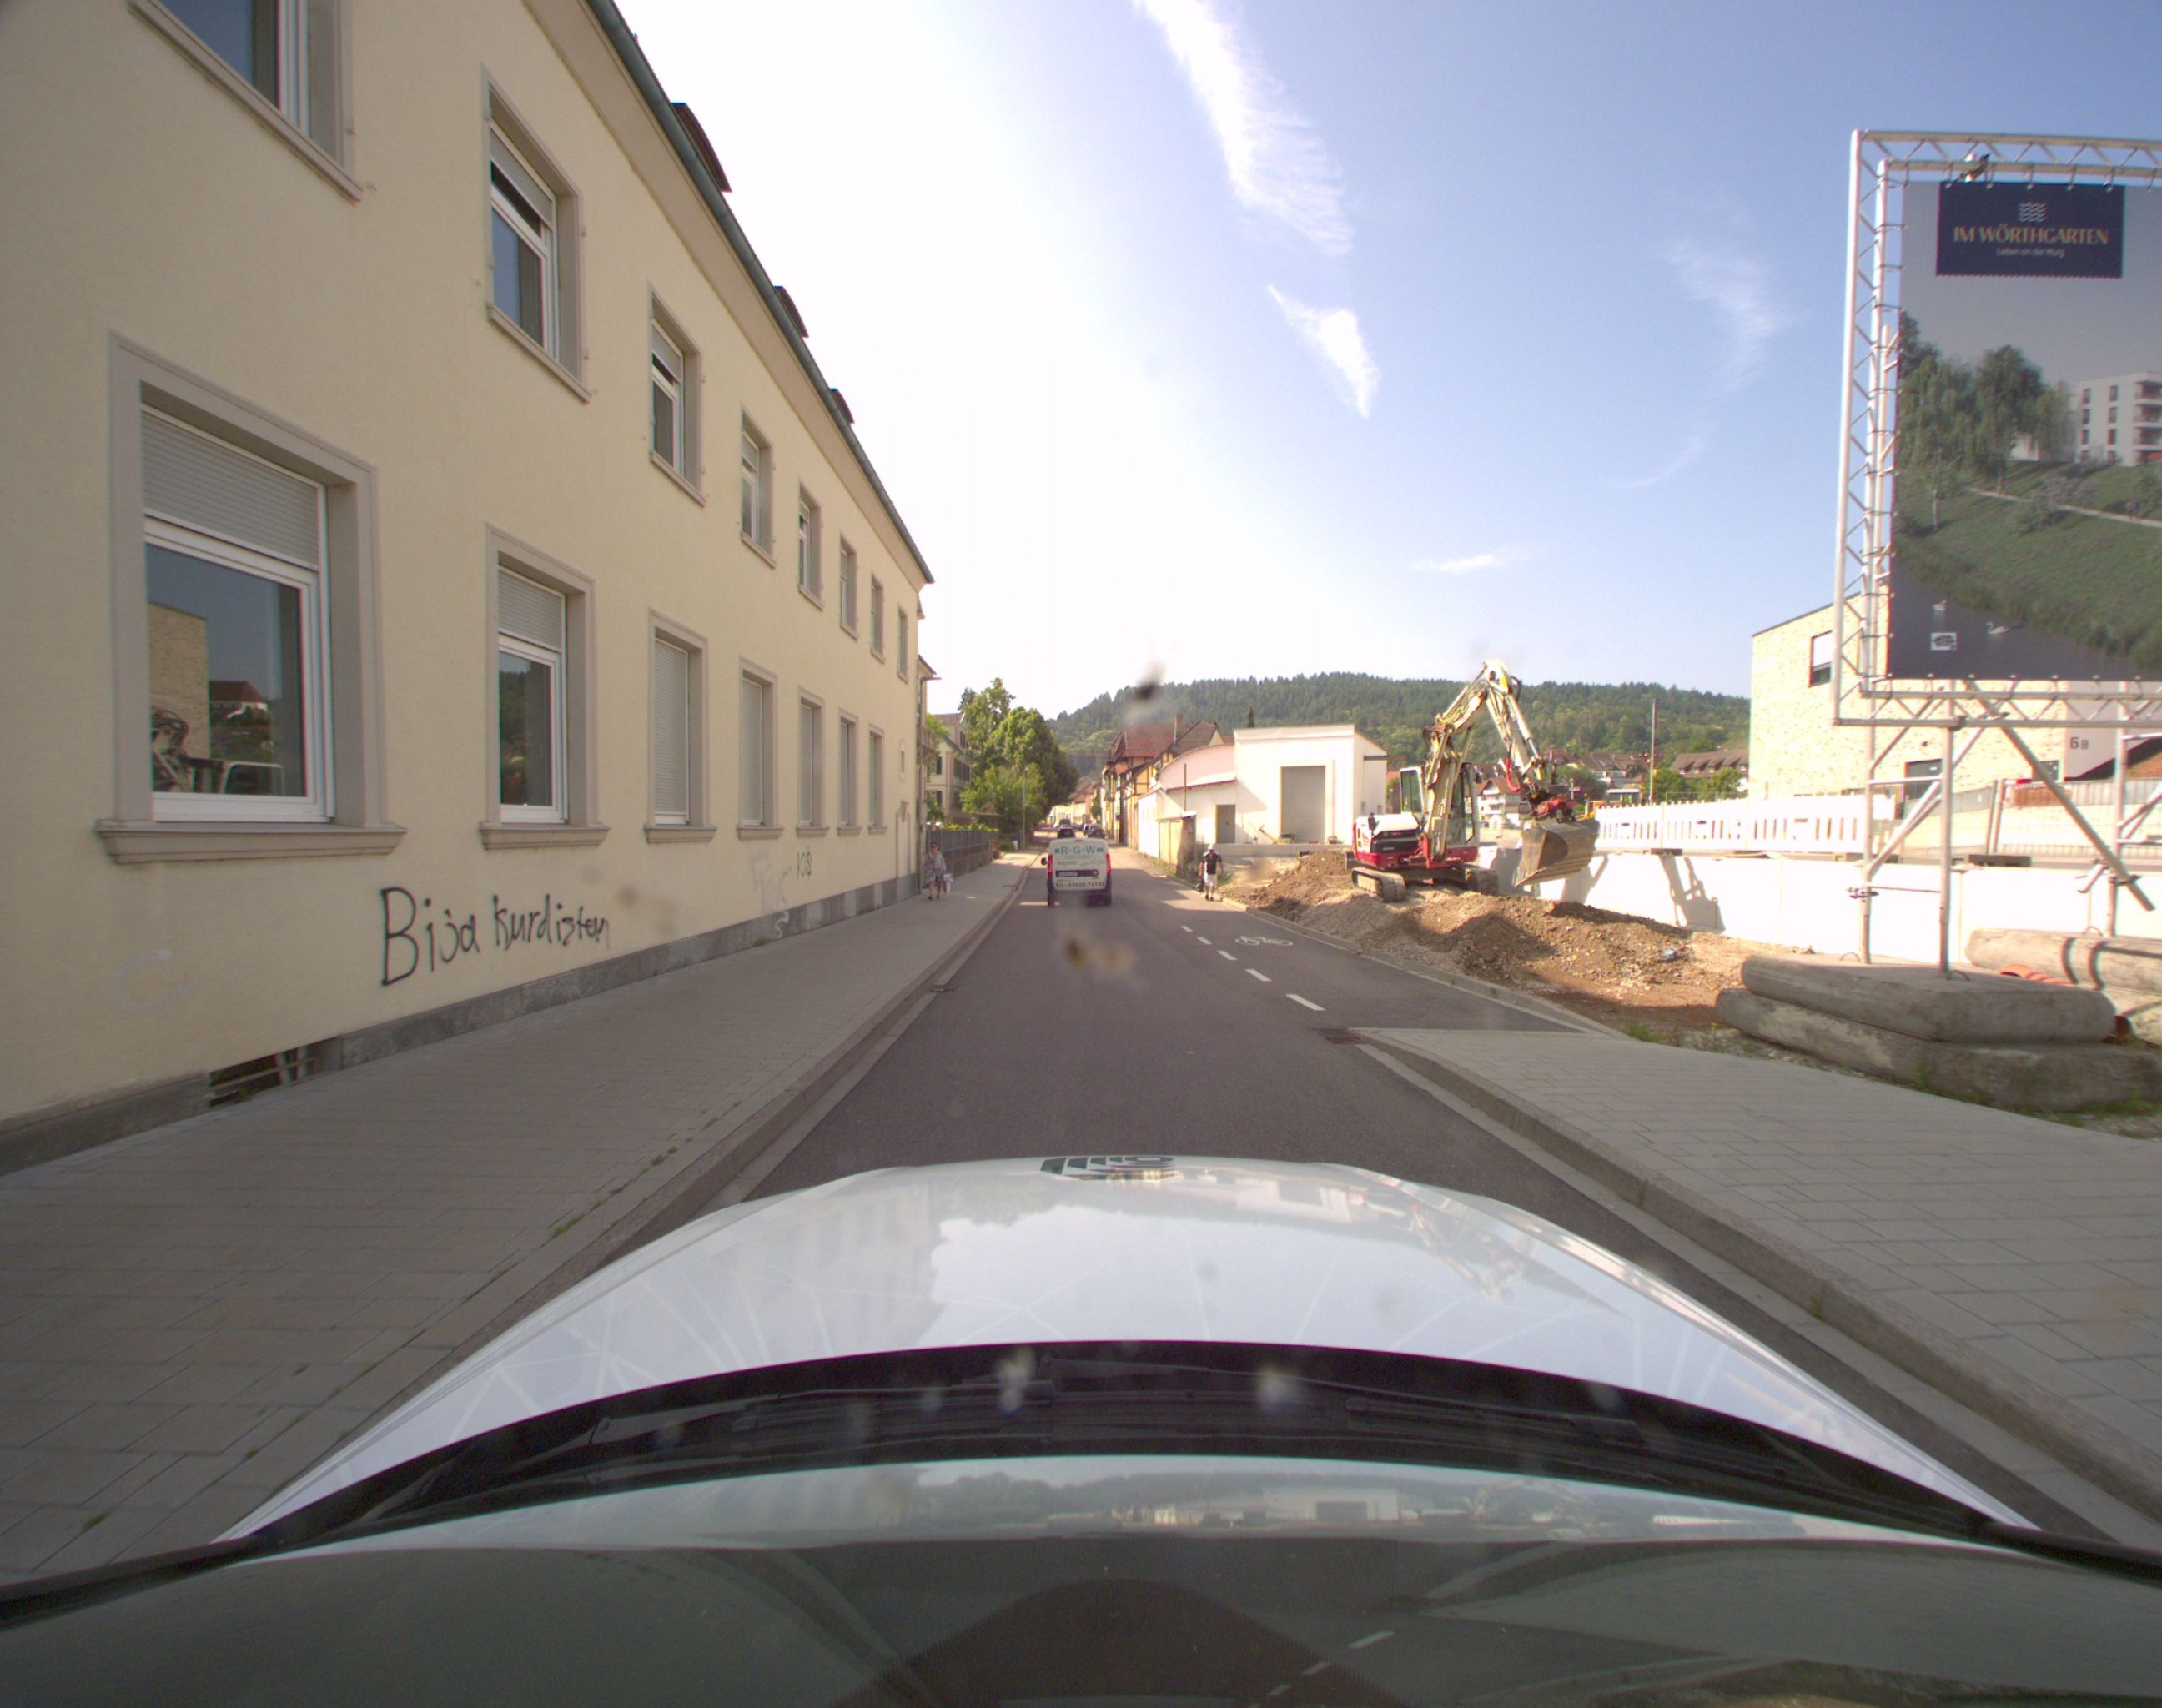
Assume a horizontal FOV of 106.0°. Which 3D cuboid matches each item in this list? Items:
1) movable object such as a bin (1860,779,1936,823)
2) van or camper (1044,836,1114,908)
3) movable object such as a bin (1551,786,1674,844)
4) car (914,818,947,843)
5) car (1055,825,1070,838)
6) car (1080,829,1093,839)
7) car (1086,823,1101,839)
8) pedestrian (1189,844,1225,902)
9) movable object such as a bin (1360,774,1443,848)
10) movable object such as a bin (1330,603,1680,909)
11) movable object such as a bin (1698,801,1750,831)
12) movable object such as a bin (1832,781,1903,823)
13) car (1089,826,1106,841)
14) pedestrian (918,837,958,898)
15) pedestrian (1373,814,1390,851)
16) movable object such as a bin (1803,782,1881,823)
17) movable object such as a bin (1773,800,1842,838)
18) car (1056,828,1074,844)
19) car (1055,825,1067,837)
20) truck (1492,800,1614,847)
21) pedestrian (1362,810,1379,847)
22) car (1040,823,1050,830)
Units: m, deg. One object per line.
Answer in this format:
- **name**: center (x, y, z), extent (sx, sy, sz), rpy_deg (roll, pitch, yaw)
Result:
- **movable object such as a bin**: center (28.691, -1.855, 28.639), extent (1.291, 1.463, 1.324), rpy_deg (3, 3, 9)
- **van or camper**: center (-0.117, 0.422, 23.588), extent (1.823, 1.844, 4.185), rpy_deg (-1, 1, -2)
- **movable object such as a bin**: center (24.769, -1.773, 38.142), extent (4.570, 2.569, 1.936), rpy_deg (0, 1, 24)
- **car**: center (-11.593, -1.856, 62.937), extent (1.819, 1.772, 4.678), rpy_deg (4, 2, -3)
- **car**: center (-2.438, -3.053, 108.088), extent (1.807, 1.596, 3.923), rpy_deg (3, 2, -4)
- **car**: center (0.831, -3.120, 124.925), extent (1.666, 1.507, 3.996), rpy_deg (0, 2, -3)
- **car**: center (1.655, -3.075, 108.325), extent (1.866, 2.013, 3.998), rpy_deg (1, 2, -2)
- **pedestrian**: center (3.799, 0.568, 24.629), extent (0.886, 1.683, 0.718), rpy_deg (2, 1, -2)
- **movable object such as a bin**: center (17.314, -2.258, 43.790), extent (2.823, 3.620, 5.772), rpy_deg (4, 3, 33)
- **movable object such as a bin**: center (6.671, -1.363, 14.435), extent (2.286, 3.853, 7.805), rpy_deg (3, 1, 3)
- **movable object such as a bin**: center (29.222, -1.717, 37.043), extent (1.288, 1.267, 1.324), rpy_deg (3, 3, 9)
- **movable object such as a bin**: center (28.908, -1.907, 29.967), extent (1.291, 1.463, 1.324), rpy_deg (3, 3, 9)
- **car**: center (1.988, -2.473, 98.380), extent (1.805, 1.596, 3.926), rpy_deg (3, 2, -1)
- **pedestrian**: center (-3.947, 0.371, 22.564), extent (0.955, 1.631, 0.758), rpy_deg (1, 1, -2)
- **pedestrian**: center (15.854, -1.144, 42.945), extent (0.628, 1.896, 0.611), rpy_deg (4, 3, 29)
- **movable object such as a bin**: center (29.240, -1.955, 31.340), extent (1.683, 1.463, 1.324), rpy_deg (3, 3, 9)
- **movable object such as a bin**: center (29.859, -1.451, 33.521), extent (1.571, 1.463, 1.324), rpy_deg (3, 3, 9)
- **car**: center (-1.793, -2.024, 89.467), extent (1.806, 1.596, 3.924), rpy_deg (3, 2, -3)
- **car**: center (-4.986, -5.827, 205.304), extent (2.868, 2.835, 6.118), rpy_deg (0, 2, -3)
- **truck**: center (24.319, -1.541, 42.224), extent (5.266, 2.265, 2.232), rpy_deg (0, 1, 24)
- **pedestrian**: center (14.981, -1.313, 42.101), extent (0.630, 1.896, 0.609), rpy_deg (3, 2, 9)
- **car**: center (-9.678, -7.276, 218.501), extent (1.773, 1.798, 3.984), rpy_deg (0, 2, -13)
